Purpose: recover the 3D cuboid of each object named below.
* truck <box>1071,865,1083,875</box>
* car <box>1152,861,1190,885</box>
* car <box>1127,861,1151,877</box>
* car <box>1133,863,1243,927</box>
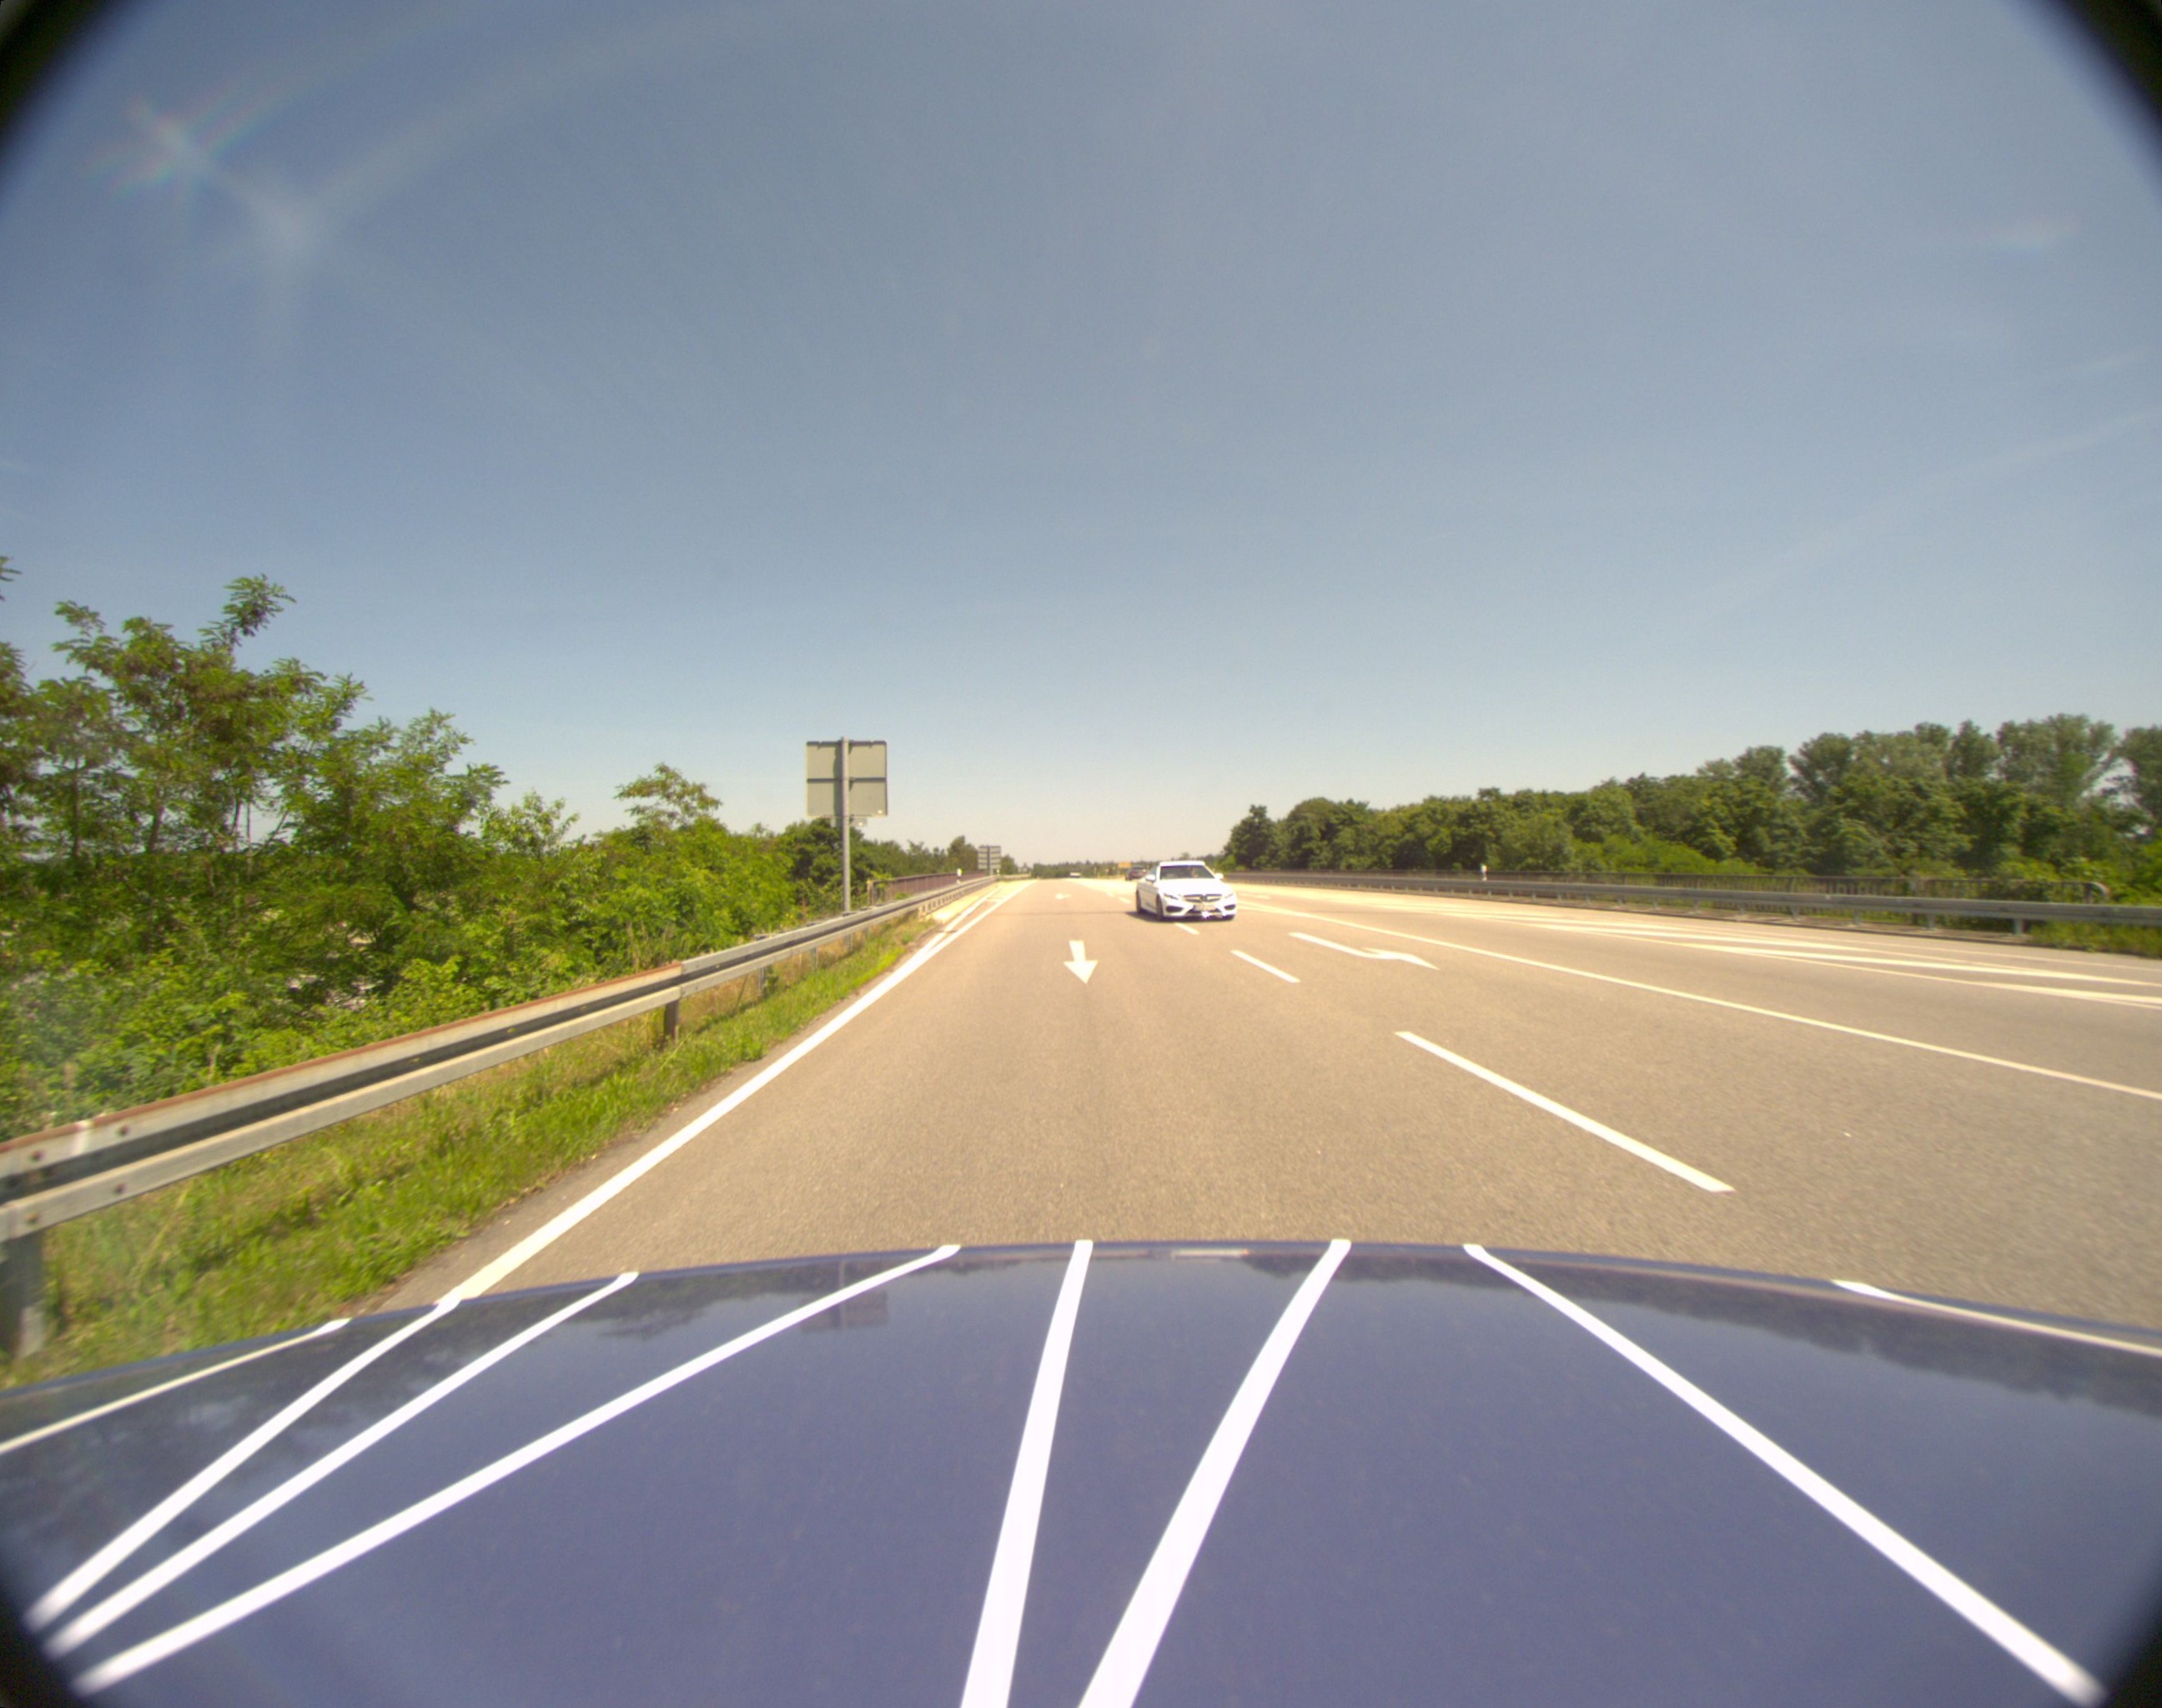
[{"bbox_3d":[-0.918,3.529,171.861,2.213,2.229,5.372,-1,-1,-4],"label":"truck"},{"bbox_3d":[5.633,1.186,48.104,1.739,1.392,4.380,1,-1,-3],"label":"car"},{"bbox_3d":[5.577,1.459,73.804,1.728,1.444,4.794,1,-1,-2],"label":"car"},{"bbox_3d":[2.613,0.974,19.502,1.814,1.407,4.108,-2,-1,-6],"label":"car"}]
